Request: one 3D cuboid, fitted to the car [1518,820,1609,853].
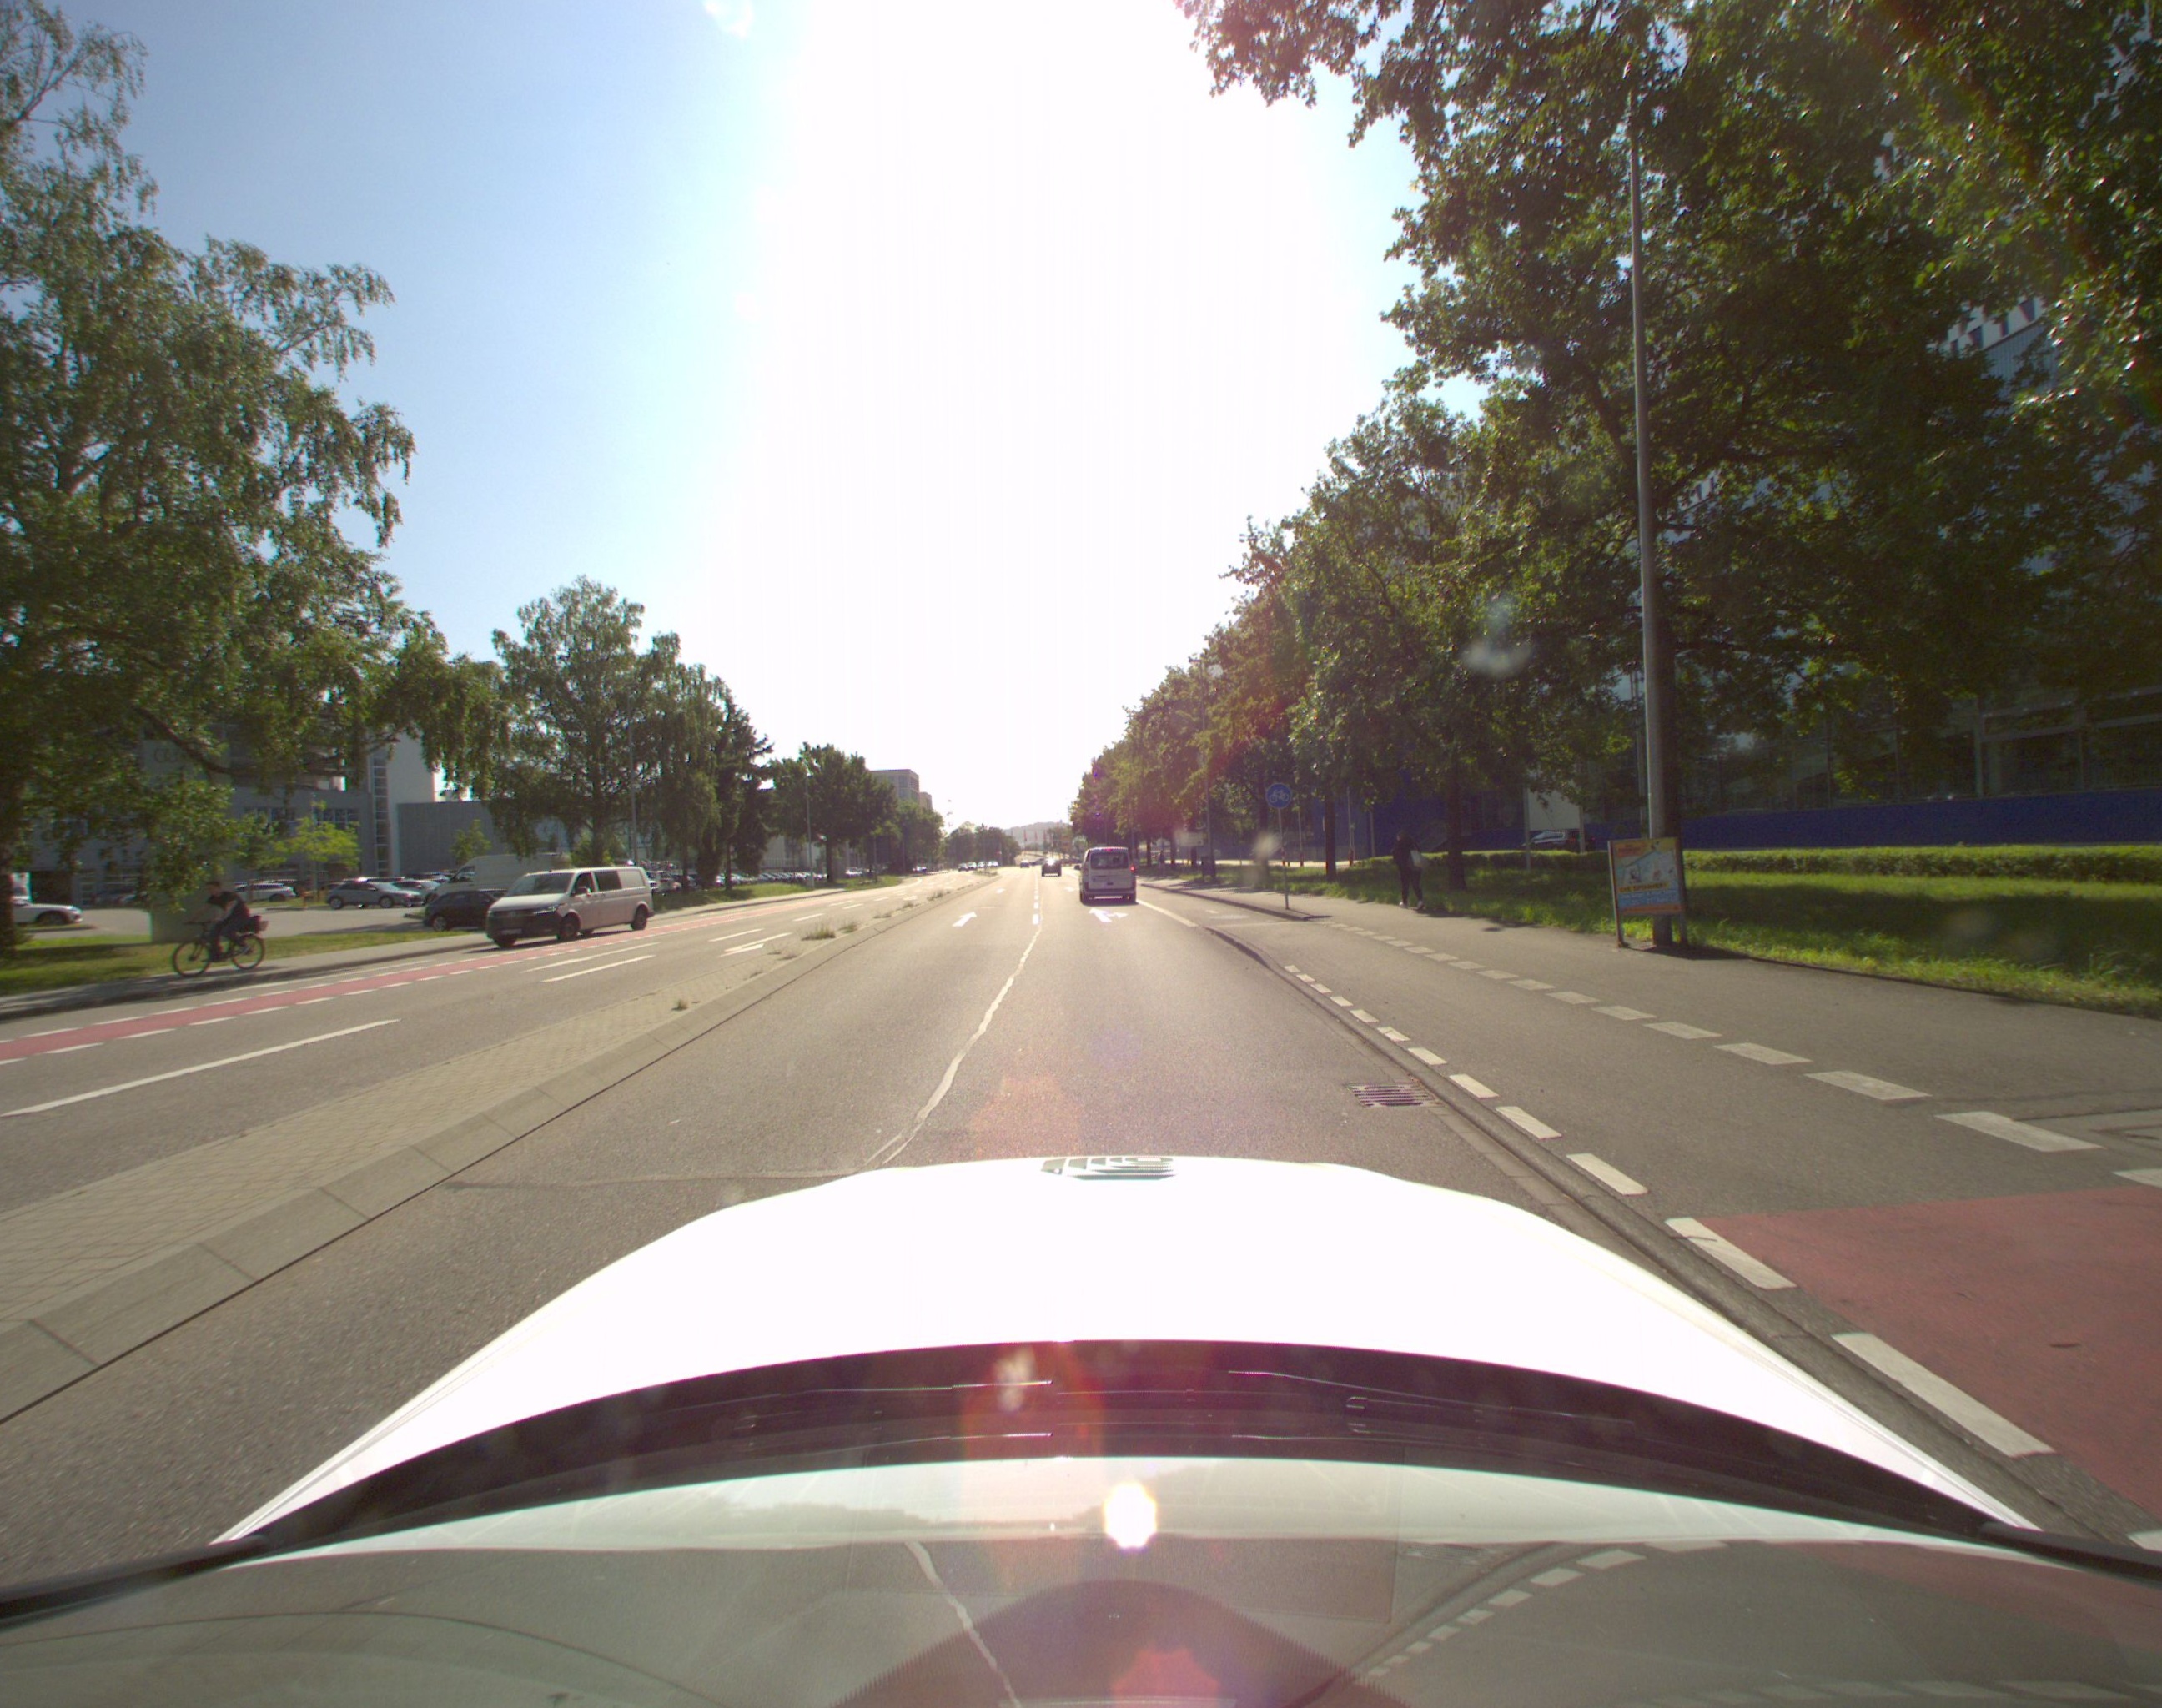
[{"bbox_3d":[25.537,-0.909,43.323,1.903,1.520,4.365,-3,0,-6],"label":"car"}]

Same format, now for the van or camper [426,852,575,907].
[{"bbox_3d":[-27.305,1.163,38.454,5.370,2.470,1.996,-1,1,-6],"label":"van or camper"}]

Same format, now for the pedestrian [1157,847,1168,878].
[{"bbox_3d":[4.996,0.520,49.914,0.534,1.841,0.727,-3,-1,-3],"label":"pedestrian"}]

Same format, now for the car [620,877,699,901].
[{"bbox_3d":[-28.754,2.377,55.642,4.253,1.328,1.953,-3,0,-1],"label":"car"}]

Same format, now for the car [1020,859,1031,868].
[{"bbox_3d":[-11.130,1.898,162.288,1.989,1.684,3.996,-3,0,-2],"label":"car"}]

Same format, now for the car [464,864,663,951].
[{"bbox_3d":[-14.329,1.366,23.062,1.986,2.013,5.349,-3,0,2],"label":"car"}]

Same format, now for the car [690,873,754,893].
[{"bbox_3d":[-29.066,2.369,66.004,4.253,1.350,1.953,-3,0,-1],"label":"car"}]

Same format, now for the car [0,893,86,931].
[{"bbox_3d":[-46.555,2.578,34.968,1.974,1.442,4.579,-3,0,30],"label":"car"}]

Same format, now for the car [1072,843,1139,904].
[{"bbox_3d":[0.770,0.636,27.851,1.901,1.829,4.176,-3,0,-3],"label":"car"}]

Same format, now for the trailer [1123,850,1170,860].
[{"bbox_3d":[16.725,0.335,208.191,11.836,2.469,1.999,-1,1,-1],"label":"trailer"}]

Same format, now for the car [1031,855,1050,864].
[{"bbox_3d":[-9.284,1.323,187.551,3.997,2.013,1.988,-1,1,-18],"label":"car"}]

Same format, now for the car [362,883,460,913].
[{"bbox_3d":[-38.592,2.511,46.982,4.077,1.438,1.742,-3,0,-3],"label":"car"}]

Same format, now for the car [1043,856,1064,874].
[{"bbox_3d":[-2.617,1.060,79.097,1.801,1.640,4.458,-3,0,0],"label":"car"}]

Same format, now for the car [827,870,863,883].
[{"bbox_3d":[-30.931,2.943,106.802,4.033,1.376,2.023,-3,0,-3],"label":"car"}]

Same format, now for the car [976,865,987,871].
[{"bbox_3d":[-24.720,3.517,202.218,1.885,1.464,4.001,-3,-1,2],"label":"car"}]

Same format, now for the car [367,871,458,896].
[{"bbox_3d":[-44.035,1.930,53.698,4.255,1.350,1.952,-3,0,-3],"label":"car"}]

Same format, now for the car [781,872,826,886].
[{"bbox_3d":[-30.332,2.728,89.112,4.253,1.350,1.953,-3,0,-1],"label":"car"}]

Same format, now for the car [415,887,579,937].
[{"bbox_3d":[-20.232,2.014,28.263,4.633,1.413,2.007,-3,-1,13],"label":"car"}]

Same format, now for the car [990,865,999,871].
[{"bbox_3d":[-21.615,3.462,203.590,1.809,1.464,4.001,-3,-1,2],"label":"car"}]

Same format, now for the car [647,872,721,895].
[{"bbox_3d":[-28.484,2.088,58.550,4.253,1.381,1.953,-3,0,-1],"label":"car"}]

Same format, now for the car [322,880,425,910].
[{"bbox_3d":[-38.389,2.194,44.263,4.071,1.354,1.745,-3,-1,2],"label":"car"}]

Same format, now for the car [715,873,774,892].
[{"bbox_3d":[-29.482,2.487,71.365,4.253,1.350,1.953,-3,0,-1],"label":"car"}]

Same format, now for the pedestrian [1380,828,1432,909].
[{"bbox_3d":[6.705,0.286,16.830,0.645,1.603,0.846,-3,-1,-2],"label":"pedestrian"}]

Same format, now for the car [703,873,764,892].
[{"bbox_3d":[-29.319,2.383,68.848,4.253,1.350,1.953,-3,0,-1],"label":"car"}]

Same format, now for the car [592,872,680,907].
[{"bbox_3d":[-27.390,2.177,50.270,4.253,1.884,1.953,-3,0,-1],"label":"car"}]

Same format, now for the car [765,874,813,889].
[{"bbox_3d":[-30.290,2.838,84.522,4.253,1.350,1.953,-3,0,-1],"label":"car"}]

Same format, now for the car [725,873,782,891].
[{"bbox_3d":[-29.682,2.564,73.934,4.253,1.350,1.953,-3,0,-1],"label":"car"}]

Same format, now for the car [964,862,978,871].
[{"bbox_3d":[-18.776,2.148,139.604,1.837,1.463,4.995,-5,0,-3],"label":"car"}]

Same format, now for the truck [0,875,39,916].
[{"bbox_3d":[-82.505,3.248,62.259,8.353,2.917,2.683,-3,-1,33],"label":"truck"}]

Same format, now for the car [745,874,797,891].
[{"bbox_3d":[-30.138,2.752,79.360,4.253,1.350,1.953,-3,0,-1],"label":"car"}]

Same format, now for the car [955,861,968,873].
[{"bbox_3d":[-22.034,2.418,150.194,1.988,2.013,3.998,-1,1,-1],"label":"car"}]

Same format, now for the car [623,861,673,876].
[{"bbox_3d":[-46.581,1.552,87.613,4.255,1.350,1.952,-3,0,-3],"label":"car"}]

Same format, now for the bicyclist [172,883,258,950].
[{"bbox_3d":[-17.271,1.228,16.269,0.631,1.227,0.951,-3,0,2],"label":"bicyclist"}]

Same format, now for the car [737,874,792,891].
[{"bbox_3d":[-29.704,2.633,76.485,4.253,1.350,1.953,-3,0,-1],"label":"car"}]

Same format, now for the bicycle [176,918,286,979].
[{"bbox_3d":[-17.202,1.891,16.531,0.444,1.027,1.616,-3,0,2],"label":"bicycle"}]
